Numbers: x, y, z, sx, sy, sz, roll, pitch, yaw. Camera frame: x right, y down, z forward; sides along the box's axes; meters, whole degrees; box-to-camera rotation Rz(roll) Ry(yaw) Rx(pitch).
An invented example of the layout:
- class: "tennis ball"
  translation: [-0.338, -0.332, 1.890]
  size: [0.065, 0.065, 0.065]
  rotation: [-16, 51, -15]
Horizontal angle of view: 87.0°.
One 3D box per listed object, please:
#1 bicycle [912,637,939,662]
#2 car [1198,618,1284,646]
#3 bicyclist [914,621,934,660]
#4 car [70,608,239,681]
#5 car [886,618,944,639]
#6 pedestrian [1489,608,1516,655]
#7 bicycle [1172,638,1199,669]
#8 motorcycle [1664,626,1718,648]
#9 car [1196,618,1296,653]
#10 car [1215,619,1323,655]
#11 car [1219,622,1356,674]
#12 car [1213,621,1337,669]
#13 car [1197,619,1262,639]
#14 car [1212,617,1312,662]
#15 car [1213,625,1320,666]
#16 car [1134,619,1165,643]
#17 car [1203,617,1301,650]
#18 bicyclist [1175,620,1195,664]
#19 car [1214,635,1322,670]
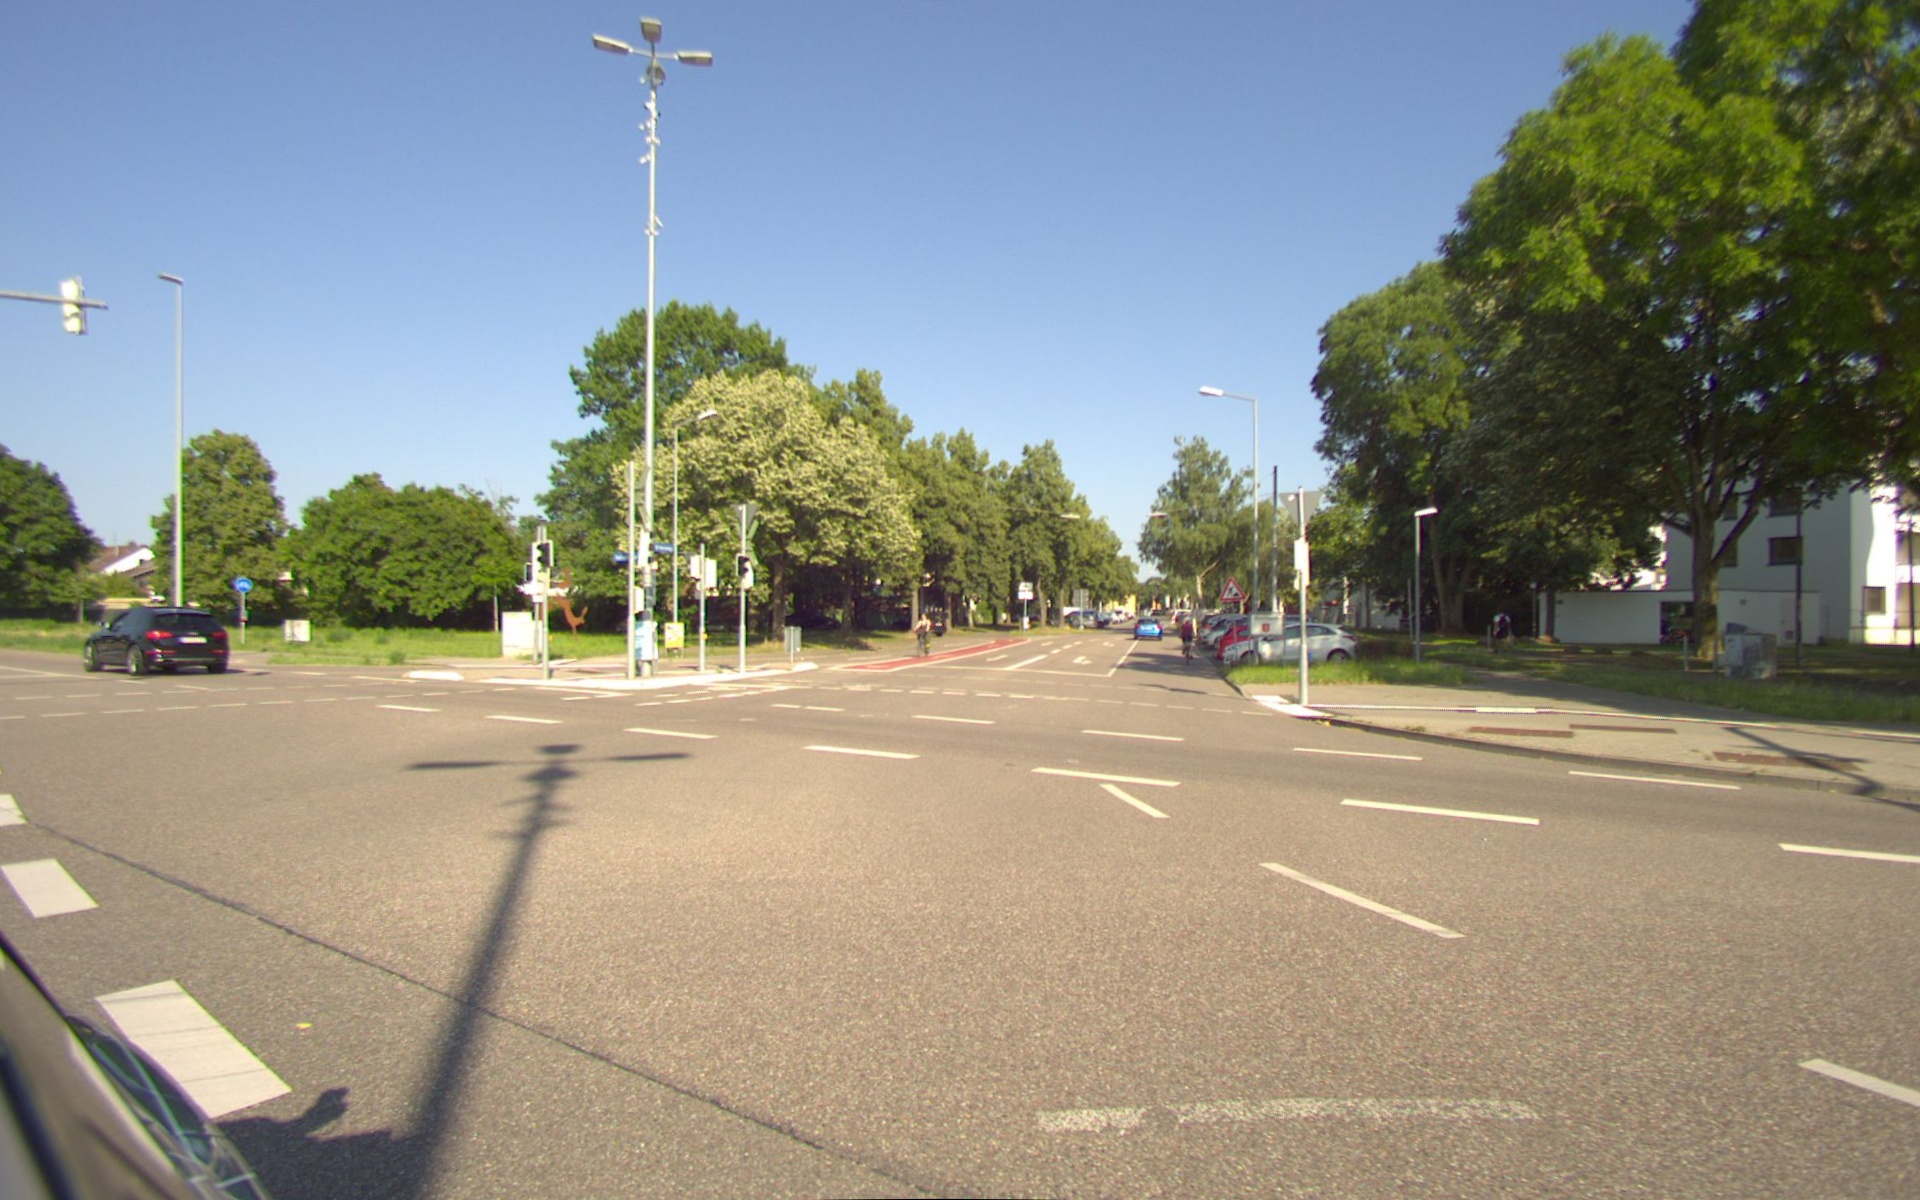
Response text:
- class: "bicycle"
  translation: [-1.371, 1.959, 40.236]
  size: [0.648, 0.910, 1.802]
  rotation: [0, -1, 13]
- class: "car"
  translation: [16.847, 1.909, 60.904]
  size: [4.764, 1.488, 1.778]
  rotation: [-3, -1, 12]
- class: "bicyclist"
  translation: [-1.442, 1.594, 40.279]
  size: [0.613, 1.535, 0.624]
  rotation: [-1, -1, 17]
- class: "car"
  translation: [-20.005, 1.055, 25.104]
  size: [4.371, 1.672, 1.973]
  rotation: [0, -2, 33]
- class: "car"
  translation: [-3.060, 1.887, 67.942]
  size: [1.500, 1.330, 4.781]
  rotation: [1, -1, -35]
- class: "pedestrian"
  translation: [20.091, 1.165, 37.463]
  size: [0.705, 1.726, 0.616]
  rotation: [-1, -1, 45]
- class: "bicycle"
  translation: [8.209, 1.925, 36.892]
  size: [0.613, 1.048, 2.069]
  rotation: [0, -1, 3]
- class: "motorcycle"
  translation: [33.704, 1.689, 46.679]
  size: [0.517, 0.972, 2.051]
  rotation: [0, -1, -23]
- class: "car"
  translation: [14.382, 1.776, 51.102]
  size: [4.666, 1.488, 1.778]
  rotation: [-4, -2, 12]
- class: "car"
  translation: [14.832, 1.779, 48.841]
  size: [4.764, 1.488, 1.778]
  rotation: [-3, -1, 12]
- class: "car"
  translation: [10.364, 1.526, 32.319]
  size: [3.963, 1.450, 1.776]
  rotation: [-3, -2, 16]
- class: "car"
  translation: [10.994, 1.569, 35.457]
  size: [3.965, 1.426, 1.775]
  rotation: [-4, -2, 17]
- class: "car"
  translation: [20.808, 2.239, 78.224]
  size: [4.771, 1.488, 1.776]
  rotation: [0, -1, 17]
- class: "car"
  translation: [12.710, 1.647, 42.786]
  size: [3.962, 1.824, 1.777]
  rotation: [0, -1, 15]
- class: "car"
  translation: [12.070, 1.775, 40.098]
  size: [3.962, 1.532, 1.777]
  rotation: [0, -1, 15]
- class: "car"
  translation: [12.090, 1.960, 64.431]
  size: [1.768, 1.425, 4.226]
  rotation: [0, -1, 14]
- class: "car"
  translation: [15.402, 1.769, 53.567]
  size: [4.764, 1.488, 1.778]
  rotation: [-4, -2, 12]
- class: "bicyclist"
  translation: [8.214, 1.516, 36.958]
  size: [0.601, 1.572, 0.602]
  rotation: [0, -1, 4]
- class: "car"
  translation: [11.346, 1.918, 37.465]
  size: [3.753, 1.202, 1.458]
  rotation: [0, -1, 16]
